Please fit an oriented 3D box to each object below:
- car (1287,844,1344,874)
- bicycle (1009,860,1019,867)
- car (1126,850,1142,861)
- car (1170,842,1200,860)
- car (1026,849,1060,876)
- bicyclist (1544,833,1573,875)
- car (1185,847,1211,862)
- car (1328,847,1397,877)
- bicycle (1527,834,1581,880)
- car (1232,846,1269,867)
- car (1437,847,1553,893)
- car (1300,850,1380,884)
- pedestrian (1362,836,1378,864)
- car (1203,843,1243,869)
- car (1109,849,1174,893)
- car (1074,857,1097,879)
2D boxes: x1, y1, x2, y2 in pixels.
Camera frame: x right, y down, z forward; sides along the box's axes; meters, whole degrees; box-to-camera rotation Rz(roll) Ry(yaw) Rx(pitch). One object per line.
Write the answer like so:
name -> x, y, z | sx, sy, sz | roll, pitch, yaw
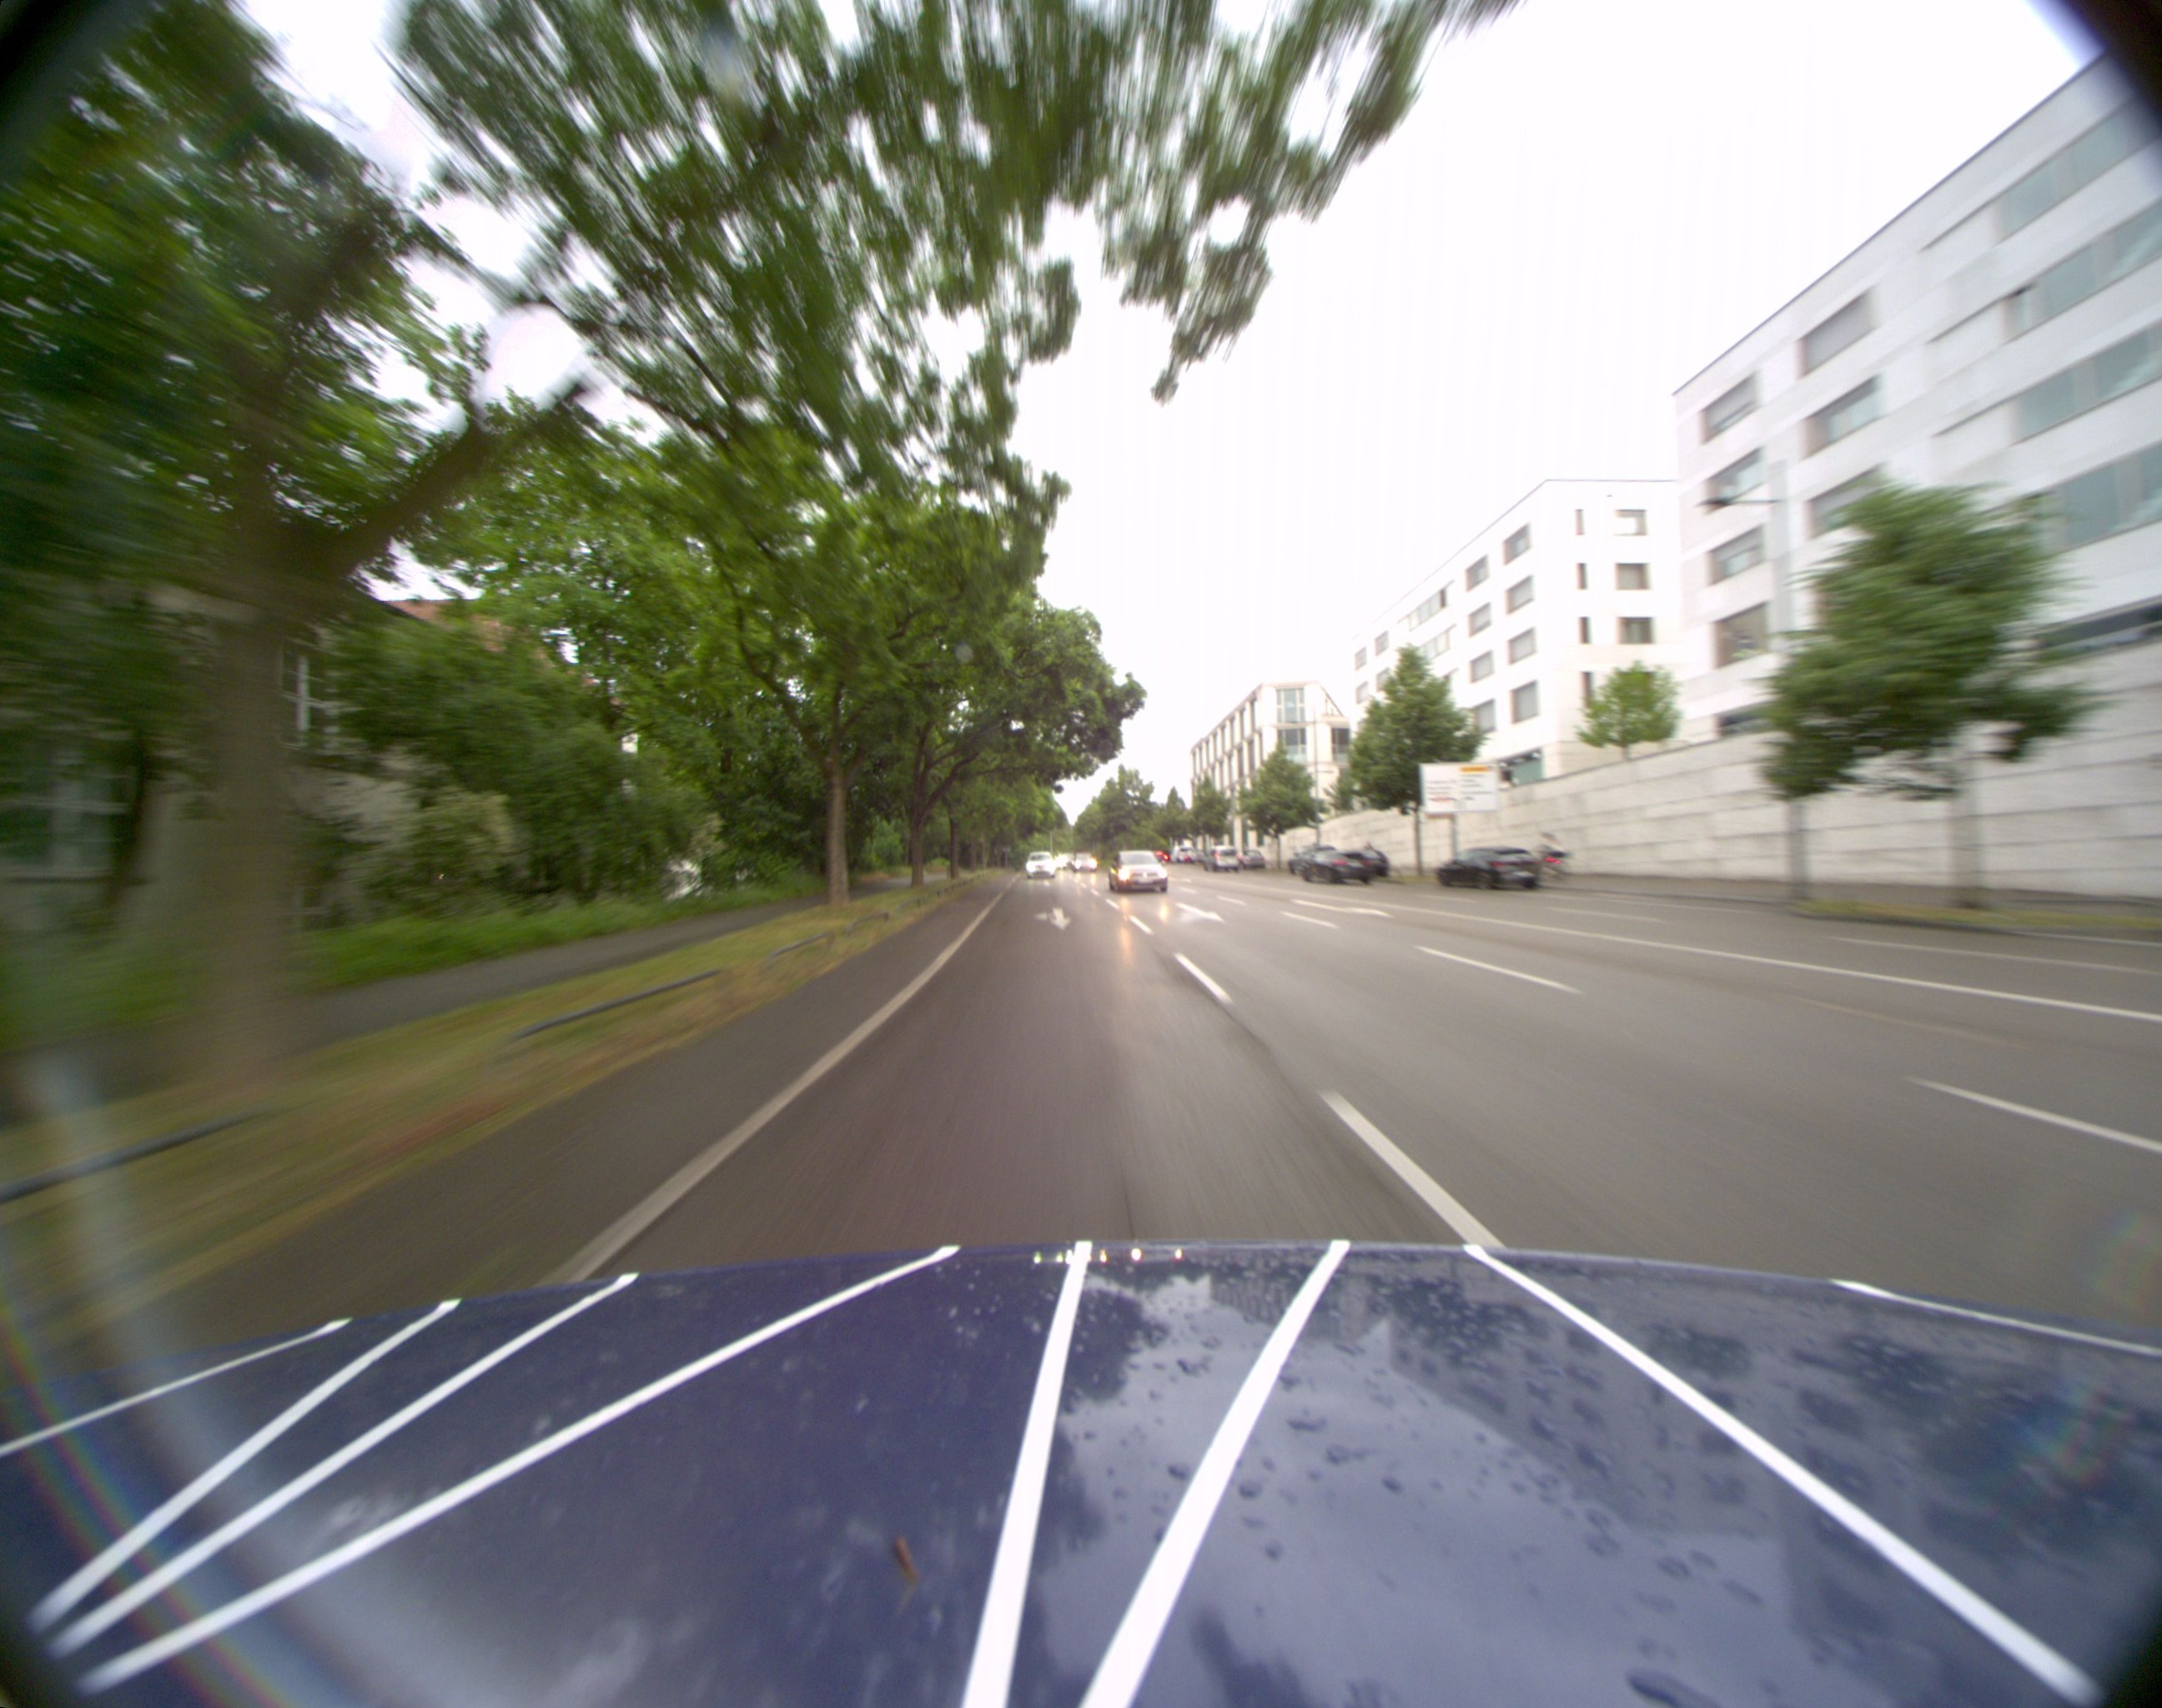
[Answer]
car -> 13.307, 0.248, 43.355 | 1.708, 1.611, 4.360 | -2, 1, -3
bicycle -> -10.784, 1.523, 121.916 | 1.490, 1.124, 0.556 | 1, -1, -10
car -> 7.184, 0.236, 103.868 | 1.646, 1.402, 3.997 | -1, -2, -3
car -> 11.338, -0.337, 83.001 | 2.128, 1.805, 5.259 | -2, -1, -5
car -> -2.360, 0.569, 46.537 | 1.646, 1.511, 3.578 | -2, -1, -8
bicyclist -> 17.847, 0.000, 28.425 | 0.578, 1.509, 0.769 | -1, 1, -3
car -> 11.613, 0.057, 75.561 | 1.700, 1.376, 3.697 | -3, 0, -4
car -> 13.755, 0.375, 37.371 | 1.699, 1.352, 4.162 | -2, 0, -2
bicycle -> 17.851, 0.110, 28.735 | 0.744, 1.647, 1.879 | -3, 1, -3
car -> 12.641, 0.159, 56.869 | 1.699, 1.436, 3.859 | -3, 0, -2
car -> 14.181, 0.509, 26.291 | 1.684, 1.418, 3.964 | -3, 0, -2
car -> 11.088, 0.516, 32.842 | 1.775, 1.373, 4.188 | 1, 0, -3
pedestrian -> 19.075, -0.267, 50.222 | 0.720, 1.764, 0.691 | -2, 0, -4
car -> 9.989, 0.140, 53.742 | 1.715, 1.736, 4.336 | 0, 0, -4
car -> 2.110, 0.561, 27.627 | 1.905, 1.431, 3.998 | -1, 1, -2
car -> 0.378, 1.087, 58.286 | 1.670, 1.520, 3.659 | -3, -3, 1
